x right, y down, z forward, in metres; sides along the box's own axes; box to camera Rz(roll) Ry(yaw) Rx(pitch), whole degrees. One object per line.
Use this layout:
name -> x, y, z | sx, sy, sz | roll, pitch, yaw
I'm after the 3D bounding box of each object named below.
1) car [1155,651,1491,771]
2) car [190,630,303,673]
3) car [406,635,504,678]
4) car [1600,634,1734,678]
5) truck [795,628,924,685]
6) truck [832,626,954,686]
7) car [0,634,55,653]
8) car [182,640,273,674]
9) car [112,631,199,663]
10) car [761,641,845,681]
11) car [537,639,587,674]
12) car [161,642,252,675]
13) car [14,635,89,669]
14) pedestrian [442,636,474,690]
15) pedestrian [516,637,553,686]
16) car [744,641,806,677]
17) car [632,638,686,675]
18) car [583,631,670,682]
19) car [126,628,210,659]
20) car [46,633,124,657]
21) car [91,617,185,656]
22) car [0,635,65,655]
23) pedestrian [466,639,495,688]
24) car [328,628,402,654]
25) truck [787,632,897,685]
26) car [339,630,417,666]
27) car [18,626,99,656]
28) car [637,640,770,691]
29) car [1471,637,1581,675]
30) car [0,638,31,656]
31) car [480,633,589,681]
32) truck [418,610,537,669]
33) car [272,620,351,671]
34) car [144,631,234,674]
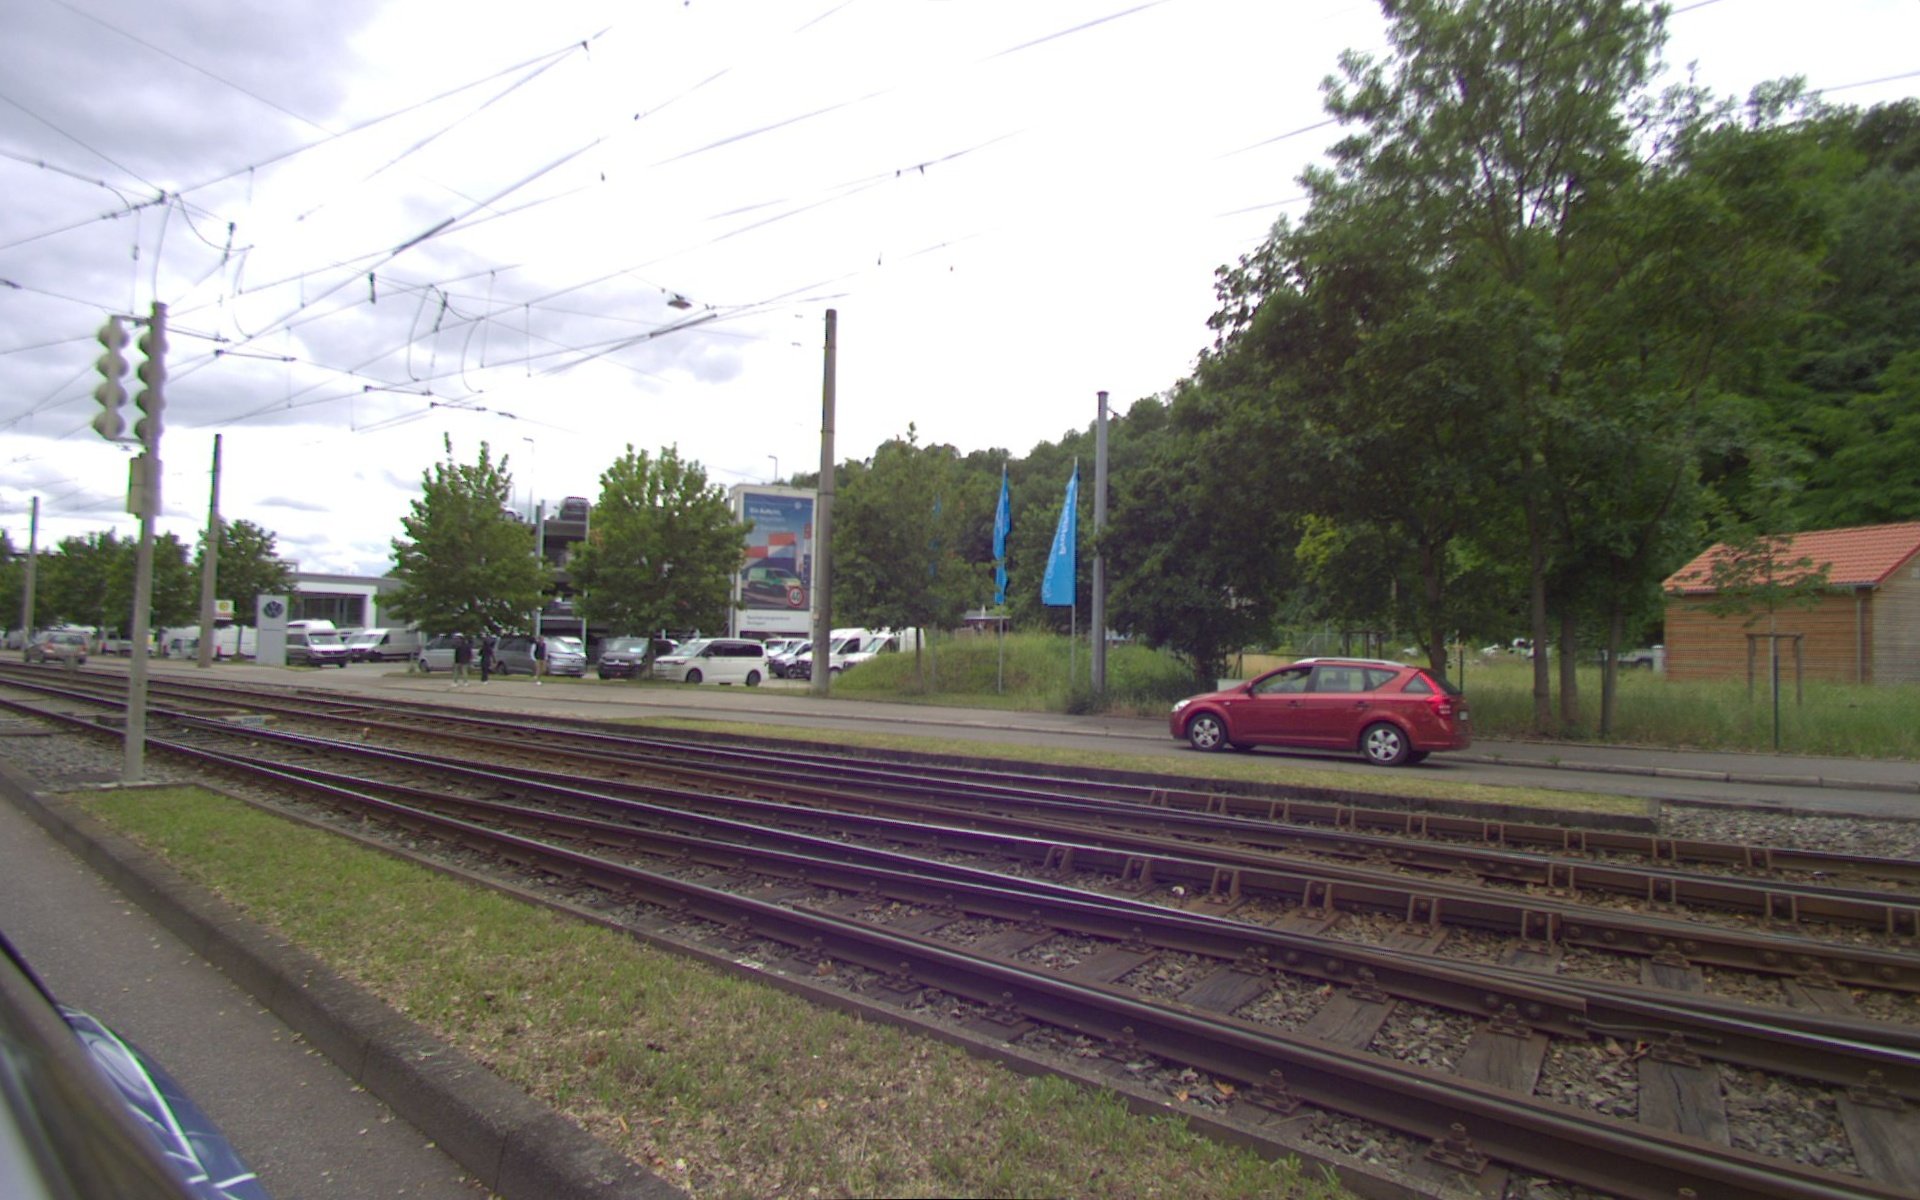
car -> 5.491, 1.621, 15.572 | 4.494, 1.527, 1.975 | -1, -6, 38
car -> -45.528, 3.319, 64.712 | 2.241, 2.622, 5.426 | -1, -4, 34
car -> -24.456, 2.709, 48.989 | 4.904, 2.029, 1.977 | -1, -4, 33
car -> 28.668, 2.262, 41.188 | 1.965, 1.674, 4.012 | 2, -3, -19
truck -> -4.822, 2.748, 48.808 | 5.679, 2.608, 2.476 | 3, -4, -30
truck -> -3.049, 2.572, 46.230 | 4.984, 2.608, 2.476 | 2, -3, -24
car -> -82.751, 3.876, 89.262 | 1.996, 1.630, 3.951 | -2, -4, 36
car -> -47.849, 3.697, 66.192 | 1.996, 2.121, 4.334 | -1, -3, 30
car -> -56.530, 3.302, 71.197 | 1.996, 2.189, 4.334 | -1, -3, 30
car -> -8.331, 3.233, 53.796 | 3.935, 2.029, 2.004 | 3, -3, -38
car -> -21.876, 3.080, 55.511 | 1.965, 1.845, 4.481 | 2, -4, -29
car -> -50.032, 3.872, 67.268 | 1.996, 2.121, 4.334 | -1, -3, 30
car -> -45.361, 2.575, 50.517 | 4.248, 1.544, 1.873 | -2, -7, 36
pedestrian -> -17.615, 2.195, 35.508 | 0.854, 1.827, 0.670 | -2, -2, 37
pedestrian -> -14.999, 2.165, 35.645 | 1.037, 1.668, 0.713 | -2, -1, 27
car -> -10.948, 3.459, 60.049 | 1.982, 2.029, 4.256 | -1, -3, 15
car -> -17.239, 3.233, 57.852 | 1.965, 2.028, 4.481 | 2, -4, -29
car -> -14.104, 2.414, 43.140 | 2.135, 2.029, 5.074 | 1, -3, -2
car -> -57.760, 3.222, 73.896 | 1.996, 2.189, 4.334 | -1, -3, 30
car -> -70.303, 3.616, 81.353 | 2.000, 1.859, 4.327 | -2, -4, 35
car -> -60.489, 2.734, 74.564 | 2.107, 2.719, 4.930 | -1, -3, 30
car -> -80.813, 3.919, 87.765 | 1.998, 1.630, 4.331 | -1, -3, 32
pedestrian -> -17.169, 2.274, 36.236 | 0.854, 1.726, 0.622 | -2, -2, 37
car -> -48.811, 3.410, 83.140 | 1.996, 2.029, 4.799 | -1, -4, 36
truck -> -6.048, 2.999, 51.899 | 4.985, 2.608, 2.476 | 3, -4, -30
car -> -43.599, 3.620, 76.007 | 1.979, 2.622, 5.943 | 0, -3, 5
car -> -72.789, 3.344, 81.771 | 2.120, 2.329, 4.457 | -2, -4, 35
car -> -10.196, 2.578, 40.640 | 2.161, 1.902, 5.013 | -1, -3, 34
car -> 25.597, 2.522, 45.929 | 1.965, 1.674, 4.012 | 2, -3, -19
car -> -87.888, 4.307, 92.556 | 1.996, 1.630, 3.951 | -2, -4, 36
car -> -19.098, 2.517, 45.369 | 5.115, 2.029, 1.977 | -1, -4, 33
truck -> -27.013, 2.253, 56.832 | 5.835, 3.108, 2.126 | 2, -4, -26
car -> -40.321, 2.812, 62.862 | 5.926, 3.042, 2.088 | -2, -4, 37
car -> -52.026, 3.534, 68.386 | 1.996, 2.841, 4.334 | -1, -3, 30
